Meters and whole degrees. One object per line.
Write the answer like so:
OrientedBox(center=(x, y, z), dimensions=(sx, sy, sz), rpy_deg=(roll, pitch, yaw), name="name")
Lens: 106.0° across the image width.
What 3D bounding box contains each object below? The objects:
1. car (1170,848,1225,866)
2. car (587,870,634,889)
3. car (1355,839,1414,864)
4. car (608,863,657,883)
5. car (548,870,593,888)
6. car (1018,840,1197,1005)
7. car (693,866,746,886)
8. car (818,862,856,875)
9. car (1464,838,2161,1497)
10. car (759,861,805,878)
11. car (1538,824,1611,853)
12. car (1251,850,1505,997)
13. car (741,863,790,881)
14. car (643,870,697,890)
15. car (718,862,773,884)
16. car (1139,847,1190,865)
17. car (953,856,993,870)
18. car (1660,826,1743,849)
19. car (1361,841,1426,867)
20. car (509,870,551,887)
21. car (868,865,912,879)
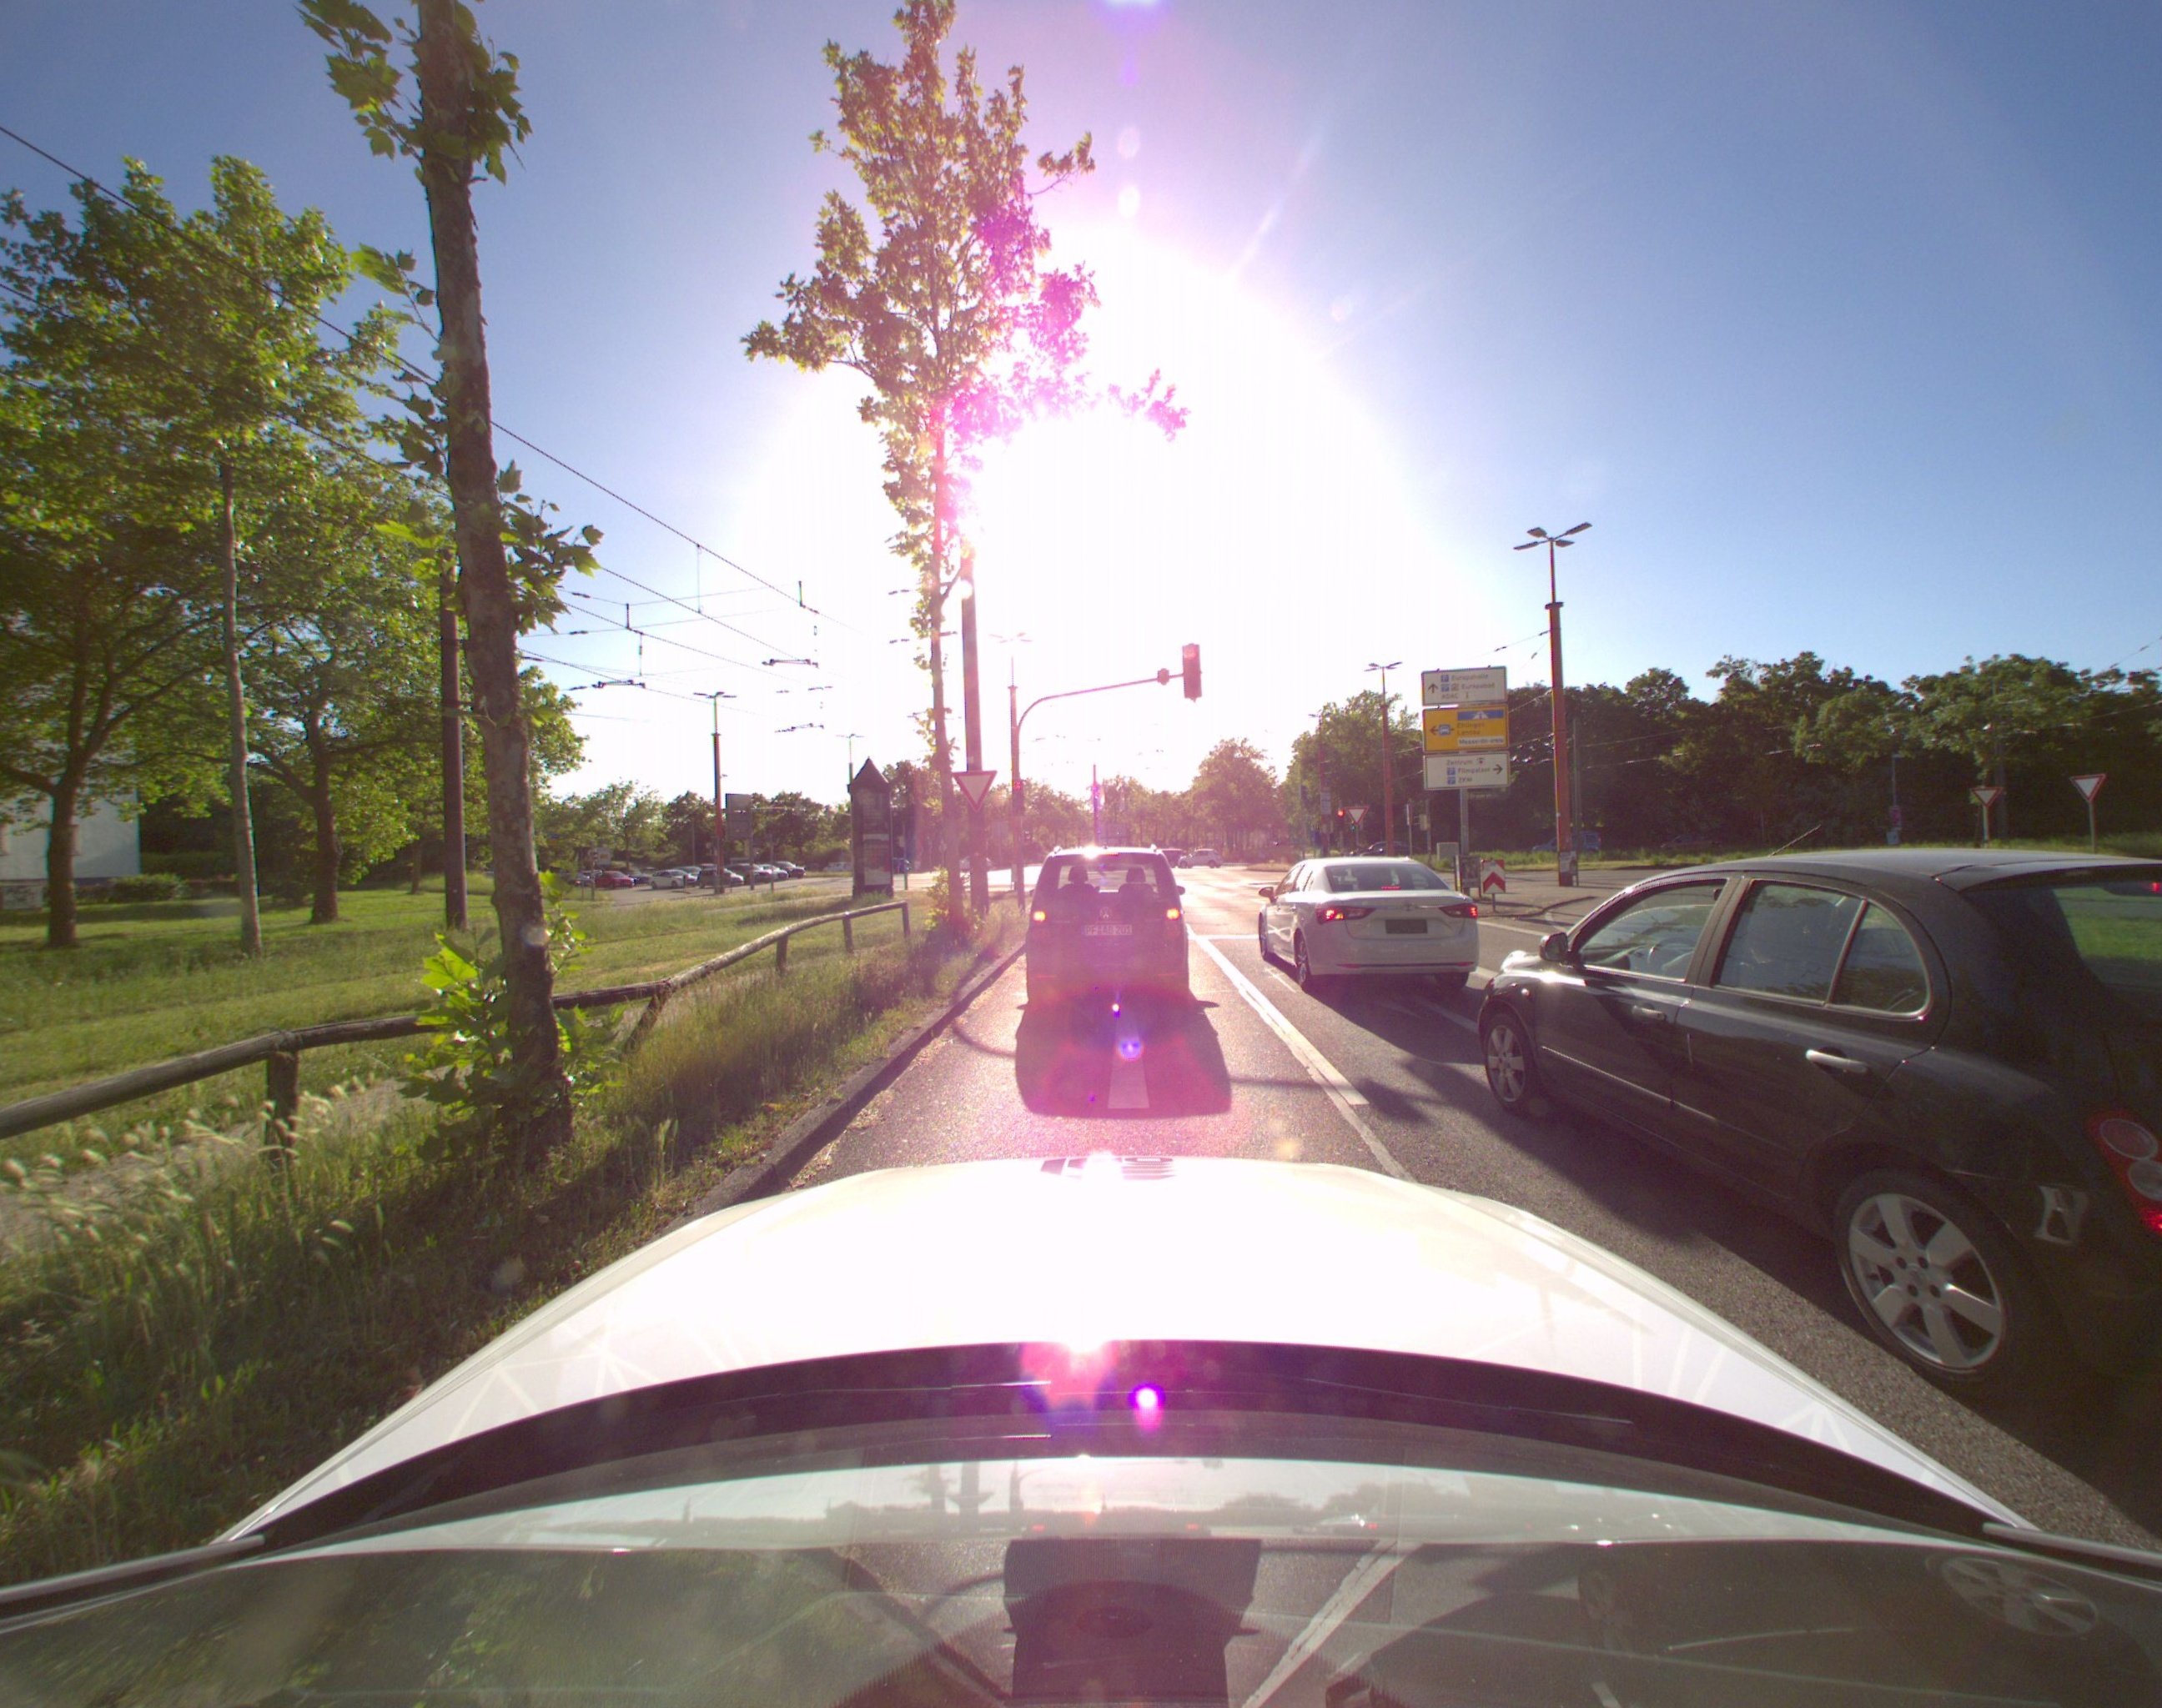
OrientedBox(center=(9.518, 0.282, 66.515), dimensions=(4.079, 1.403, 1.667), rpy_deg=(-1, 0, 29), name="car")
OrientedBox(center=(-39.442, 2.143, 68.250), dimensions=(4.145, 1.520, 1.667), rpy_deg=(-1, 0, 32), name="car")
OrientedBox(center=(23.590, -0.197, 63.357), dimensions=(4.080, 1.791, 1.810), rpy_deg=(-1, 0, 28), name="car")
OrientedBox(center=(-40.456, 1.720, 73.431), dimensions=(4.583, 1.647, 1.767), rpy_deg=(-1, 0, 32), name="car")
OrientedBox(center=(-45.080, 2.213, 71.901), dimensions=(4.145, 1.520, 1.667), rpy_deg=(-1, 0, 32), name="car")
OrientedBox(center=(0.364, 0.686, 10.083), dimensions=(1.731, 1.602, 4.329), rpy_deg=(0, -1, 3), name="car")
OrientedBox(center=(-27.331, 1.689, 61.568), dimensions=(3.793, 1.441, 1.667), rpy_deg=(-1, 0, 29), name="car")
OrientedBox(center=(-27.097, 1.647, 90.487), dimensions=(3.757, 1.403, 1.666), rpy_deg=(-1, 0, 24), name="car")
OrientedBox(center=(3.178, 0.692, 3.489), dimensions=(1.570, 1.440, 3.443), rpy_deg=(0, -1, 2), name="car")
OrientedBox(center=(-26.730, 1.376, 72.811), dimensions=(4.102, 1.415, 1.553), rpy_deg=(-1, 0, 28), name="car")
OrientedBox(center=(32.737, -1.033, 54.080), dimensions=(4.079, 1.791, 1.810), rpy_deg=(-1, 0, 31), name="car")
OrientedBox(center=(3.371, 0.706, 10.187), dimensions=(1.792, 1.440, 4.329), rpy_deg=(0, -1, 3), name="car")
OrientedBox(center=(-26.834, 1.518, 69.187), dimensions=(4.102, 1.415, 1.553), rpy_deg=(-1, 0, 28), name="car")
OrientedBox(center=(-32.665, 2.068, 64.732), dimensions=(4.577, 1.520, 1.667), rpy_deg=(-1, 0, 32), name="car")
OrientedBox(center=(-26.927, 1.511, 65.350), dimensions=(4.583, 1.647, 1.667), rpy_deg=(-1, 0, 32), name="car")
OrientedBox(center=(7.385, 0.170, 71.866), dimensions=(4.080, 1.471, 1.667), rpy_deg=(-1, 0, 27), name="car")
OrientedBox(center=(-10.825, 0.904, 81.623), dimensions=(3.755, 1.403, 1.667), rpy_deg=(-1, 0, 35), name="car")
OrientedBox(center=(40.817, -1.094, 53.689), dimensions=(4.080, 1.403, 1.666), rpy_deg=(-1, 0, 27), name="car")
OrientedBox(center=(22.446, -0.013, 58.499), dimensions=(4.079, 1.791, 1.810), rpy_deg=(-1, 0, 32), name="car")
OrientedBox(center=(-51.126, 2.251, 75.521), dimensions=(4.145, 1.520, 1.667), rpy_deg=(-1, 0, 32), name="car")
OrientedBox(center=(-19.150, 1.817, 81.767), dimensions=(4.081, 1.403, 1.666), rpy_deg=(-1, 0, 25), name="car")
